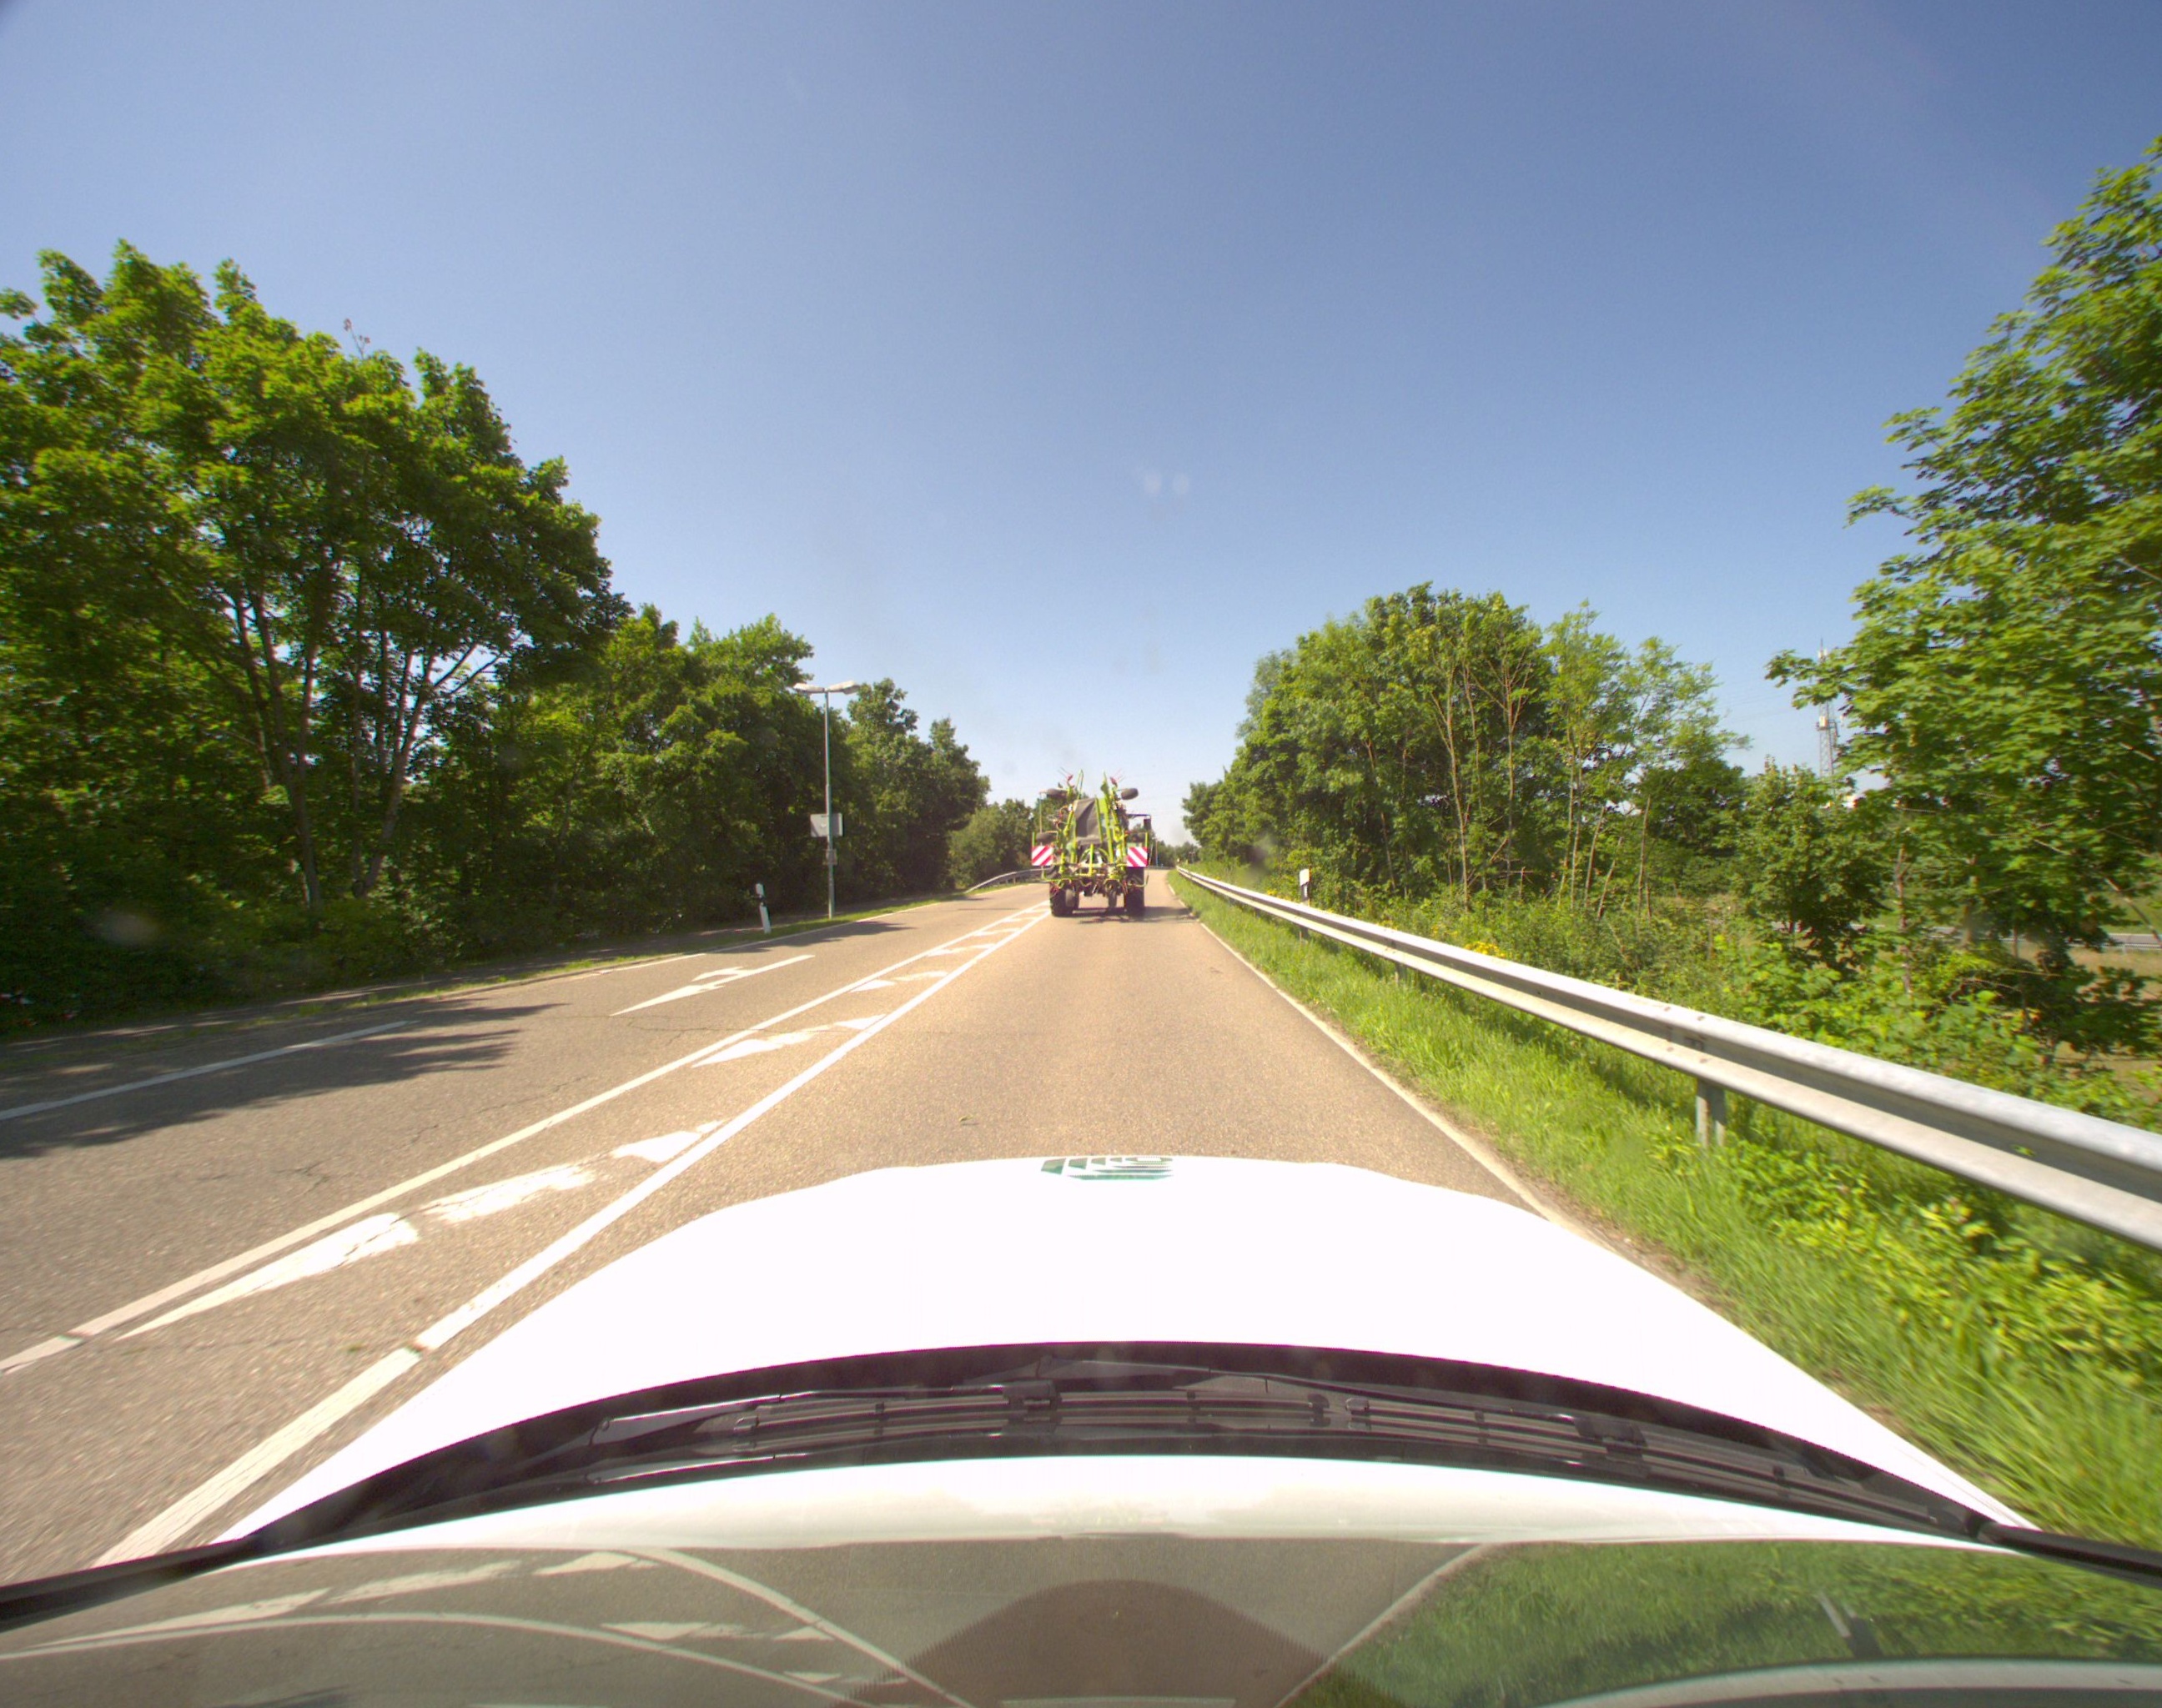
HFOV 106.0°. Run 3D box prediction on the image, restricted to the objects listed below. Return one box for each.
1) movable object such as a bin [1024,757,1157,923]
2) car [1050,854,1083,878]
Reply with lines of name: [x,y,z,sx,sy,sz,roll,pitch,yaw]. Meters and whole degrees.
movable object such as a bin: [0.373,-0.288,19.981,2.743,3.444,5.675,-1,0,3]
car: [-0.874,0.754,50.824,1.618,1.404,3.438,-1,-1,6]
